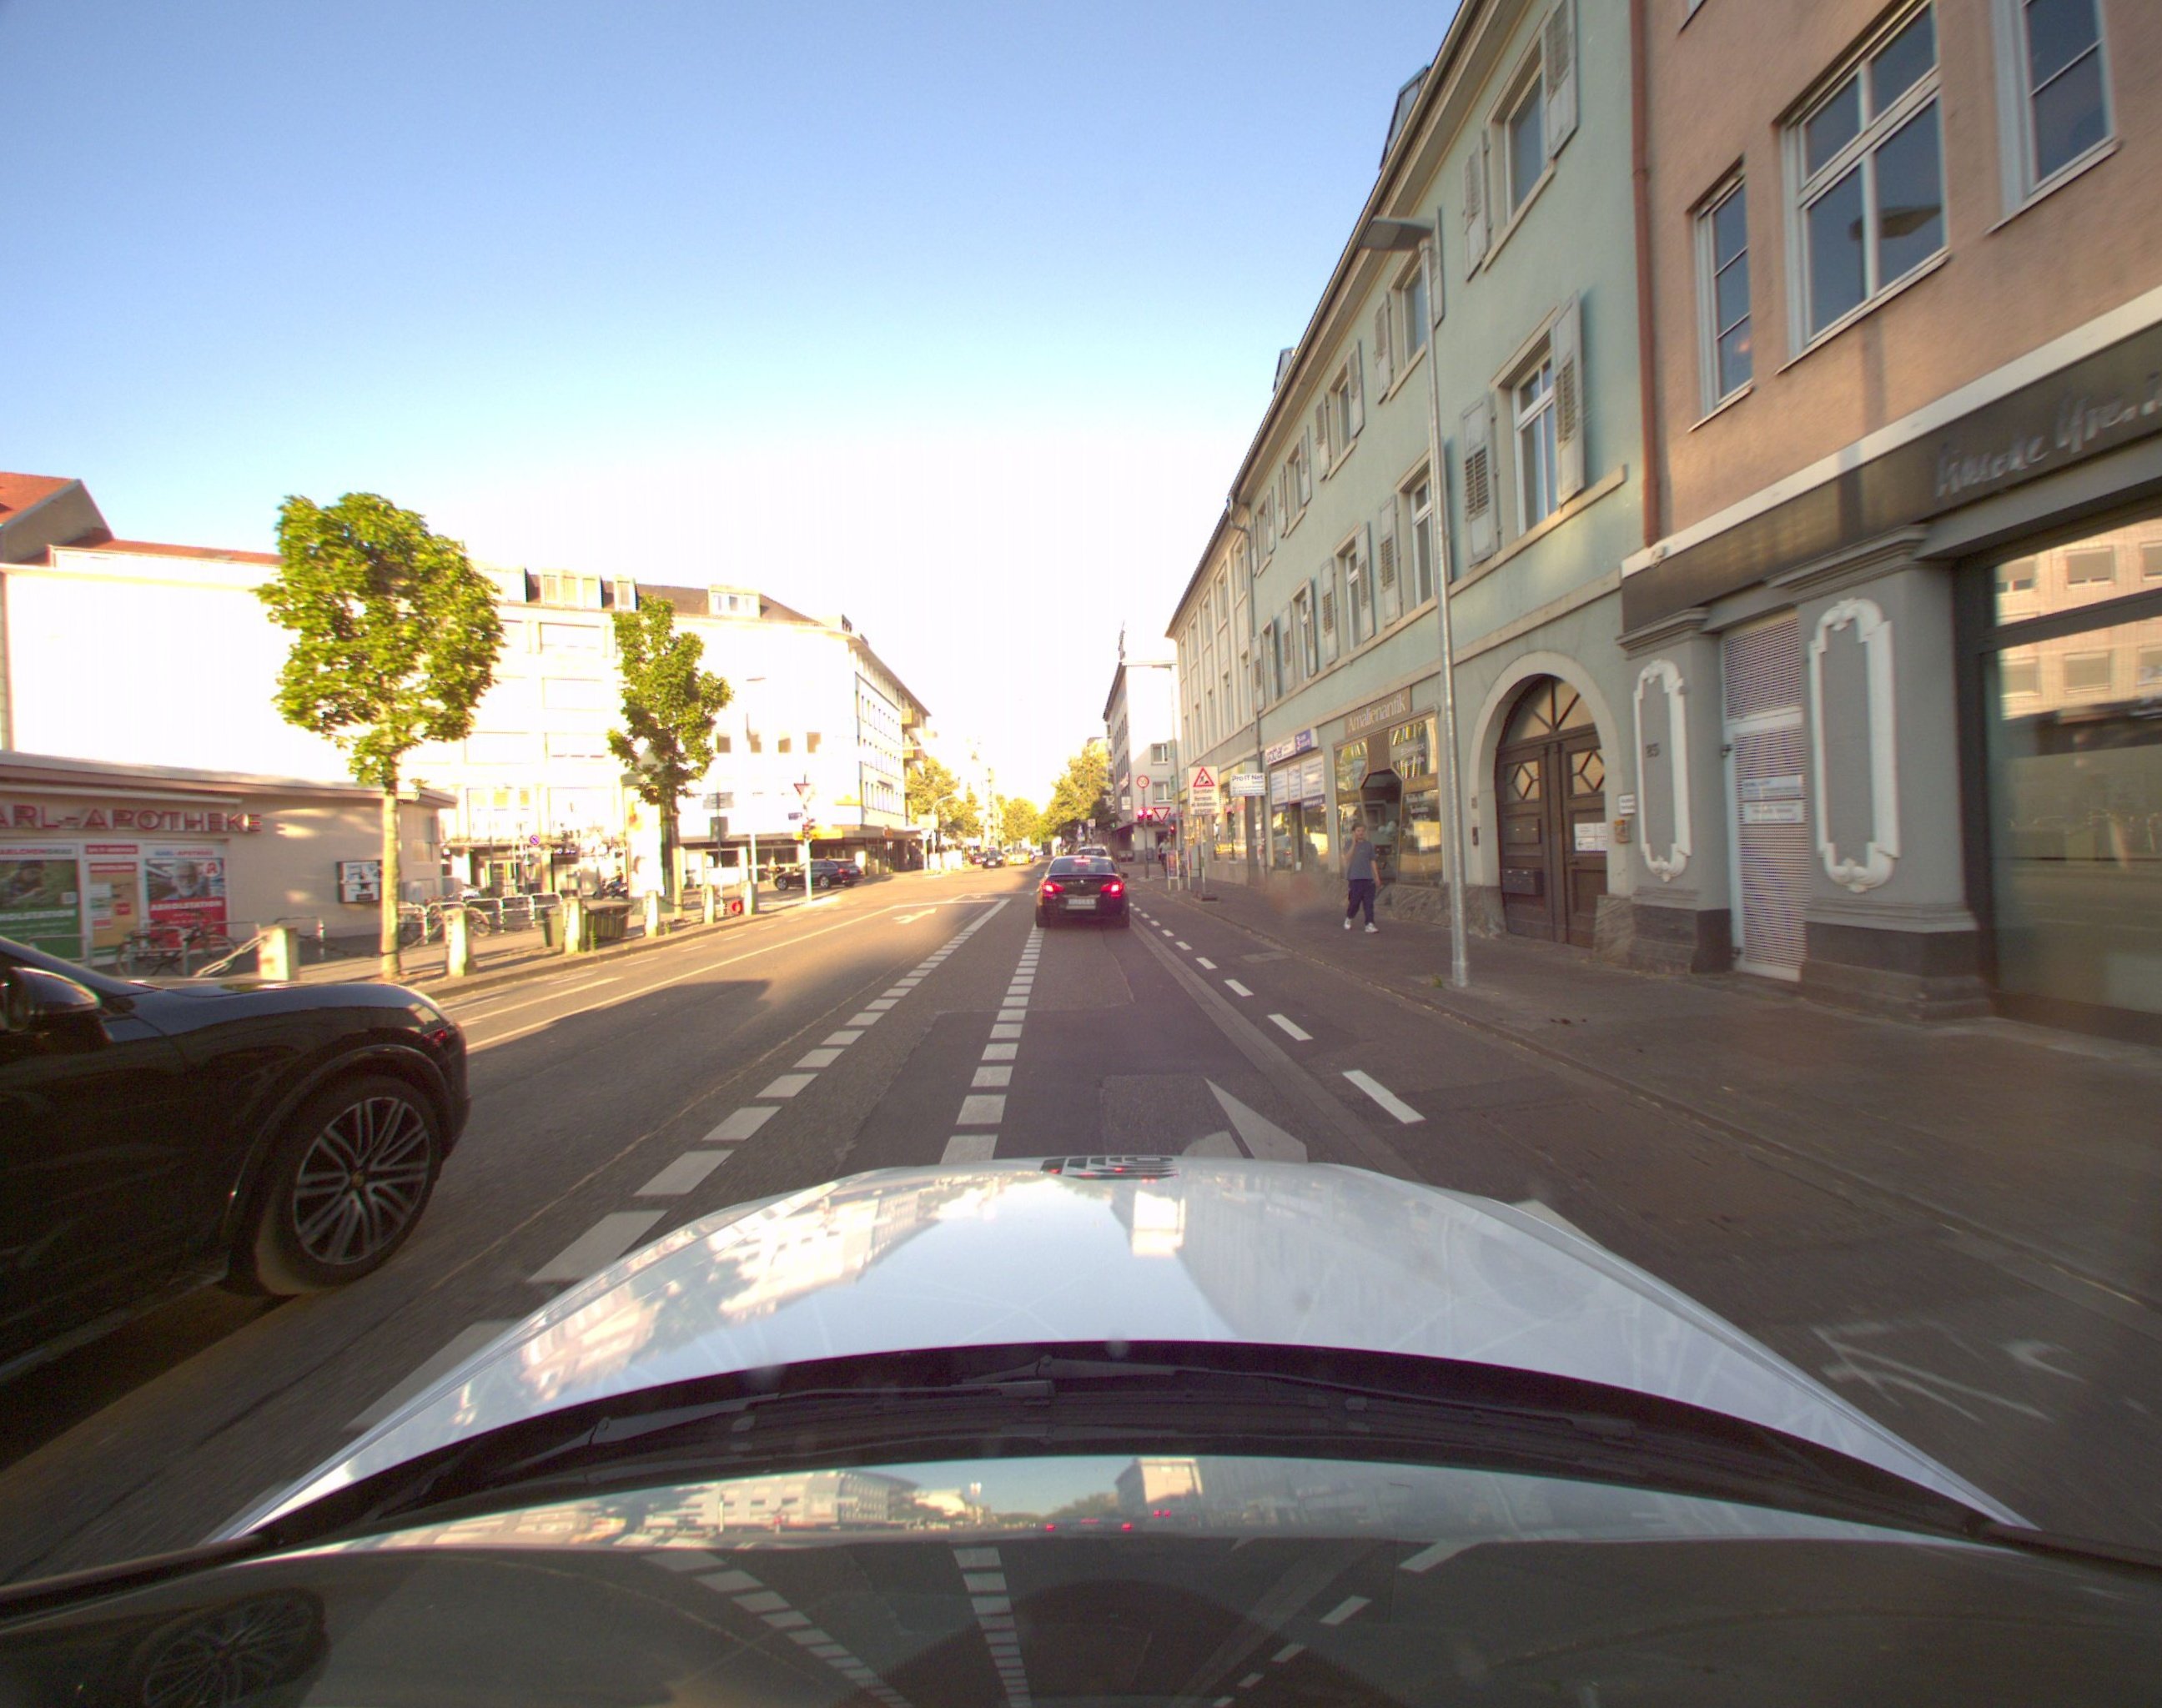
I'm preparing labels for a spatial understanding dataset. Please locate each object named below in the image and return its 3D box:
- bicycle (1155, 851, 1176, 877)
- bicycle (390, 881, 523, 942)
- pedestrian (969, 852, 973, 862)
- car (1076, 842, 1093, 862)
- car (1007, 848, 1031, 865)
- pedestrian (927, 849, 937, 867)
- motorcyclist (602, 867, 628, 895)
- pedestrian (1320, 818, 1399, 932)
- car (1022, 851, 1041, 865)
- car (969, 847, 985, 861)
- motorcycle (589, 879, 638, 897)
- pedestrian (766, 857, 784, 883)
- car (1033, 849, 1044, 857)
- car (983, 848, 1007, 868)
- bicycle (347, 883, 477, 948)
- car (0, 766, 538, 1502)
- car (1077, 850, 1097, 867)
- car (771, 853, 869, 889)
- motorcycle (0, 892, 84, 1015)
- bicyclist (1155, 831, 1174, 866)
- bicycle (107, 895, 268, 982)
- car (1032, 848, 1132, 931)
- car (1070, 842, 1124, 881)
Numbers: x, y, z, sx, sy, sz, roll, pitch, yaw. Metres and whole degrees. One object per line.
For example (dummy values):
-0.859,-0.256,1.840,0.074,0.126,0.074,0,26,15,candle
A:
3.781,0.415,36.597,0.688,1.107,1.895,-3,0,-1,bicycle
-14.646,1.333,19.153,2.436,1.256,0.787,-3,0,0,bicycle
-15.445,0.406,114.054,0.443,1.416,0.524,-3,0,-4,pedestrian
0.326,-0.222,79.869,1.418,1.854,3.048,-2,0,-4,car
-5.856,0.187,76.476,1.992,1.442,3.990,-3,0,-7,car
-14.557,0.413,79.488,0.821,1.676,0.871,-3,0,-3,pedestrian
-23.086,1.311,40.328,0.996,1.319,0.762,-2,0,-23,motorcyclist
4.278,0.308,12.549,0.821,1.641,0.870,-3,0,-3,pedestrian
-5.089,0.391,83.263,1.732,1.293,3.990,-3,0,-7,car
-12.449,-0.002,97.716,1.732,1.461,3.990,-3,0,-7,car
-23.104,1.681,40.287,2.035,0.780,0.658,-2,1,-23,motorcycle
-18.926,0.966,50.352,0.950,1.537,0.901,-3,0,-26,pedestrian
-7.926,-0.229,150.777,1.732,1.293,3.990,-3,0,-7,car
-7.522,0.312,70.966,1.992,1.618,3.990,-3,0,-7,car
-14.717,1.328,17.953,1.999,1.256,0.949,-3,0,0,bicycle
-3.509,0.704,1.498,1.943,1.714,4.559,-3,1,-2,car
0.494,0.367,73.329,1.621,1.471,3.392,-2,0,-2,car
-13.094,0.866,40.847,4.396,1.595,1.889,-2,1,21,car
-14.185,1.270,10.056,2.573,1.429,0.868,-3,0,0,motorcycle
3.756,-0.257,36.639,0.719,1.507,0.899,-3,0,0,bicyclist
-14.576,1.361,13.311,1.848,1.256,0.633,-3,0,0,bicycle
-0.067,0.654,17.618,1.899,1.540,4.446,0,1,-2,car
0.774,0.313,36.679,1.822,1.575,4.111,-2,1,9,car
